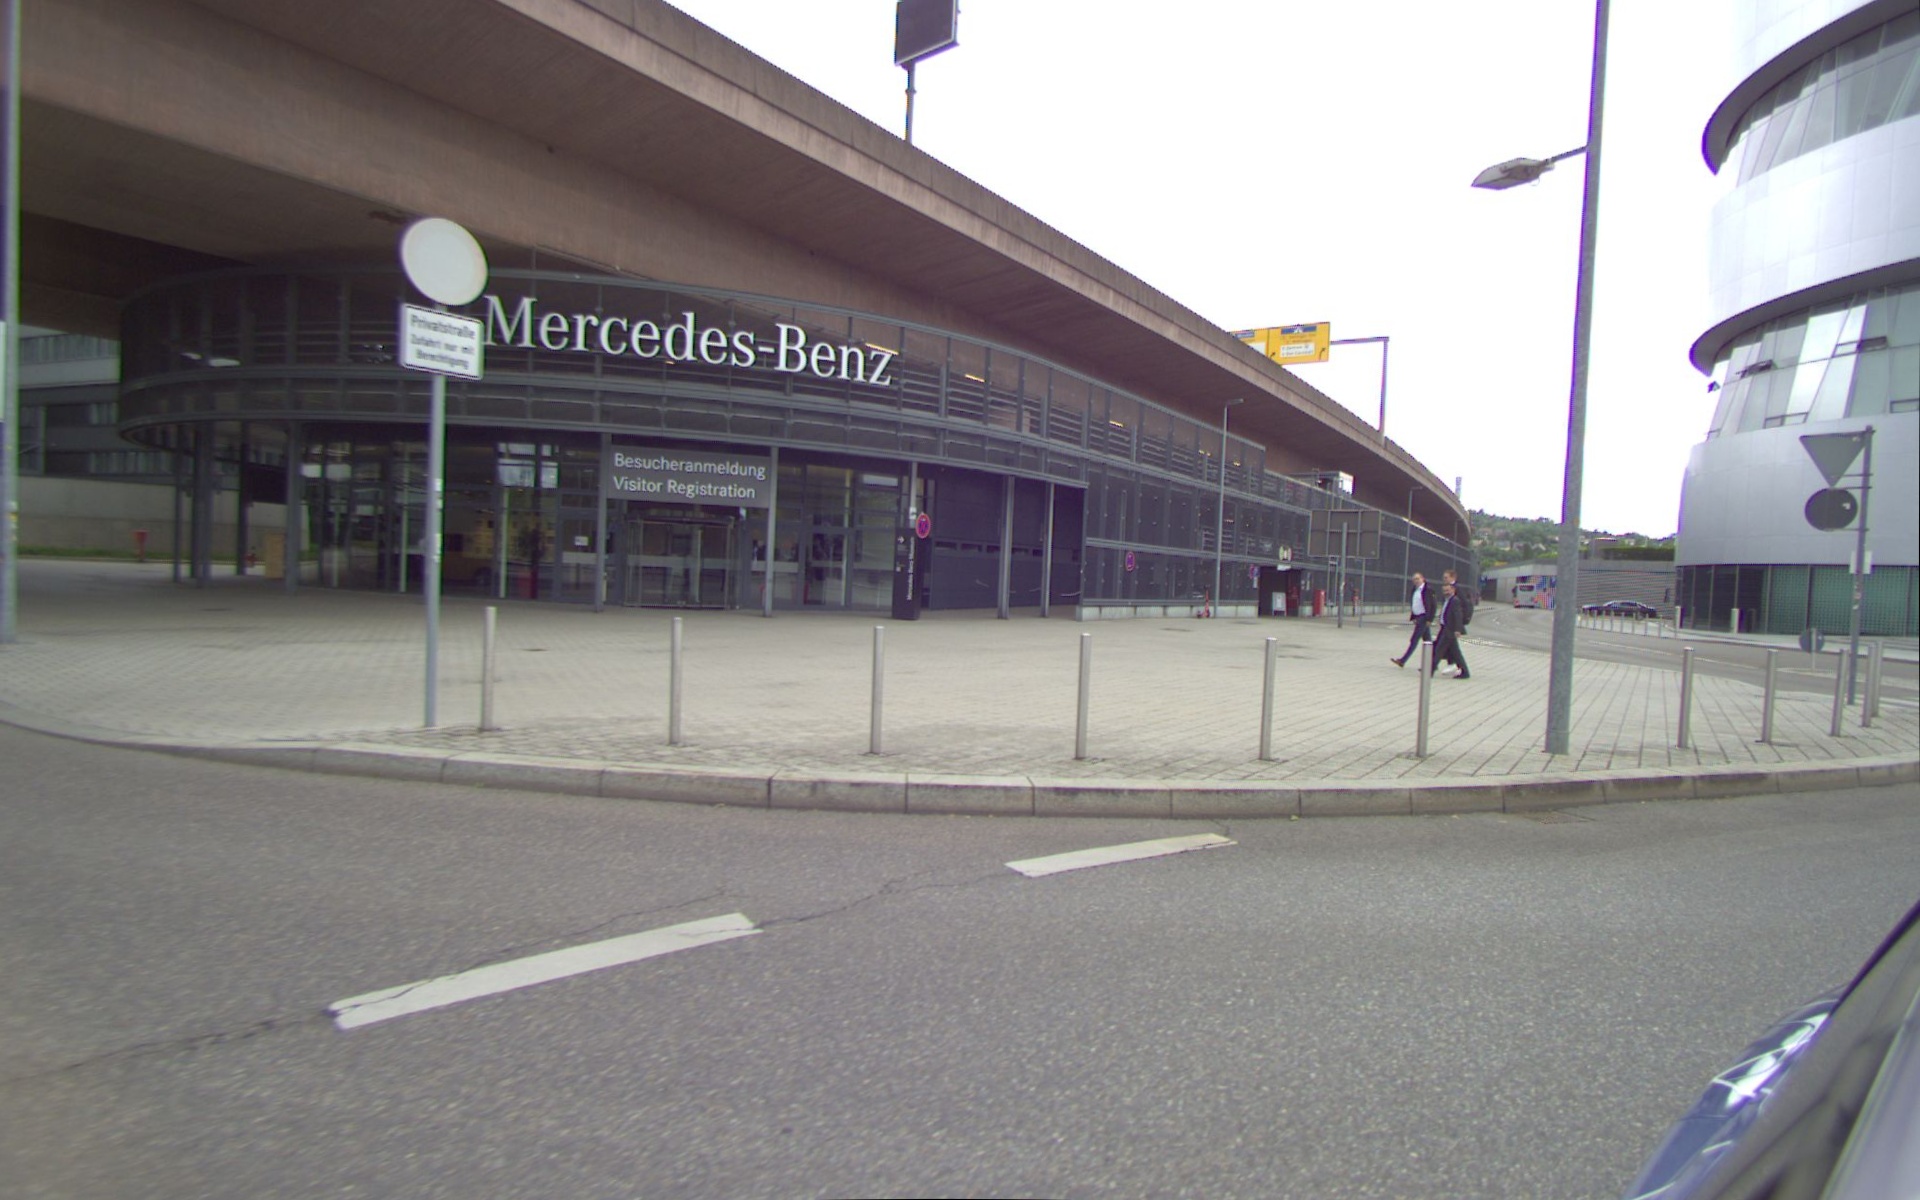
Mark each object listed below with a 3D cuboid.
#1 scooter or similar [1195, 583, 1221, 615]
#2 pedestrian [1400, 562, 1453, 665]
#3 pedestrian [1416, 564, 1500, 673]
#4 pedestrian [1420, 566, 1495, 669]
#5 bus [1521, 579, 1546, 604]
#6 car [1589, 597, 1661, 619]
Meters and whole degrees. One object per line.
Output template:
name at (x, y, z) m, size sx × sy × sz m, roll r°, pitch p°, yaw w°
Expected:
scooter or similar at (9.216, -0.042, 37.567) m, size 0.379 × 1.137 × 1.409 m, roll 4°, pitch 1°, yaw 35°
pedestrian at (8.665, 0.244, 18.823) m, size 0.775 × 1.820 × 0.858 m, roll 4°, pitch 1°, yaw 25°
pedestrian at (8.256, 0.296, 16.794) m, size 0.756 × 1.726 × 0.868 m, roll 3°, pitch 1°, yaw -17°
pedestrian at (8.733, 0.288, 17.788) m, size 0.756 × 1.726 × 0.789 m, roll 3°, pitch 1°, yaw -15°
bus at (84.537, -1.236, 149.170) m, size 2.908 × 3.483 × 6.895 m, roll 4°, pitch 1°, yaw 29°
car at (54.601, 0.634, 83.172) m, size 4.875 × 1.415 × 1.516 m, roll 5°, pitch 2°, yaw 34°
